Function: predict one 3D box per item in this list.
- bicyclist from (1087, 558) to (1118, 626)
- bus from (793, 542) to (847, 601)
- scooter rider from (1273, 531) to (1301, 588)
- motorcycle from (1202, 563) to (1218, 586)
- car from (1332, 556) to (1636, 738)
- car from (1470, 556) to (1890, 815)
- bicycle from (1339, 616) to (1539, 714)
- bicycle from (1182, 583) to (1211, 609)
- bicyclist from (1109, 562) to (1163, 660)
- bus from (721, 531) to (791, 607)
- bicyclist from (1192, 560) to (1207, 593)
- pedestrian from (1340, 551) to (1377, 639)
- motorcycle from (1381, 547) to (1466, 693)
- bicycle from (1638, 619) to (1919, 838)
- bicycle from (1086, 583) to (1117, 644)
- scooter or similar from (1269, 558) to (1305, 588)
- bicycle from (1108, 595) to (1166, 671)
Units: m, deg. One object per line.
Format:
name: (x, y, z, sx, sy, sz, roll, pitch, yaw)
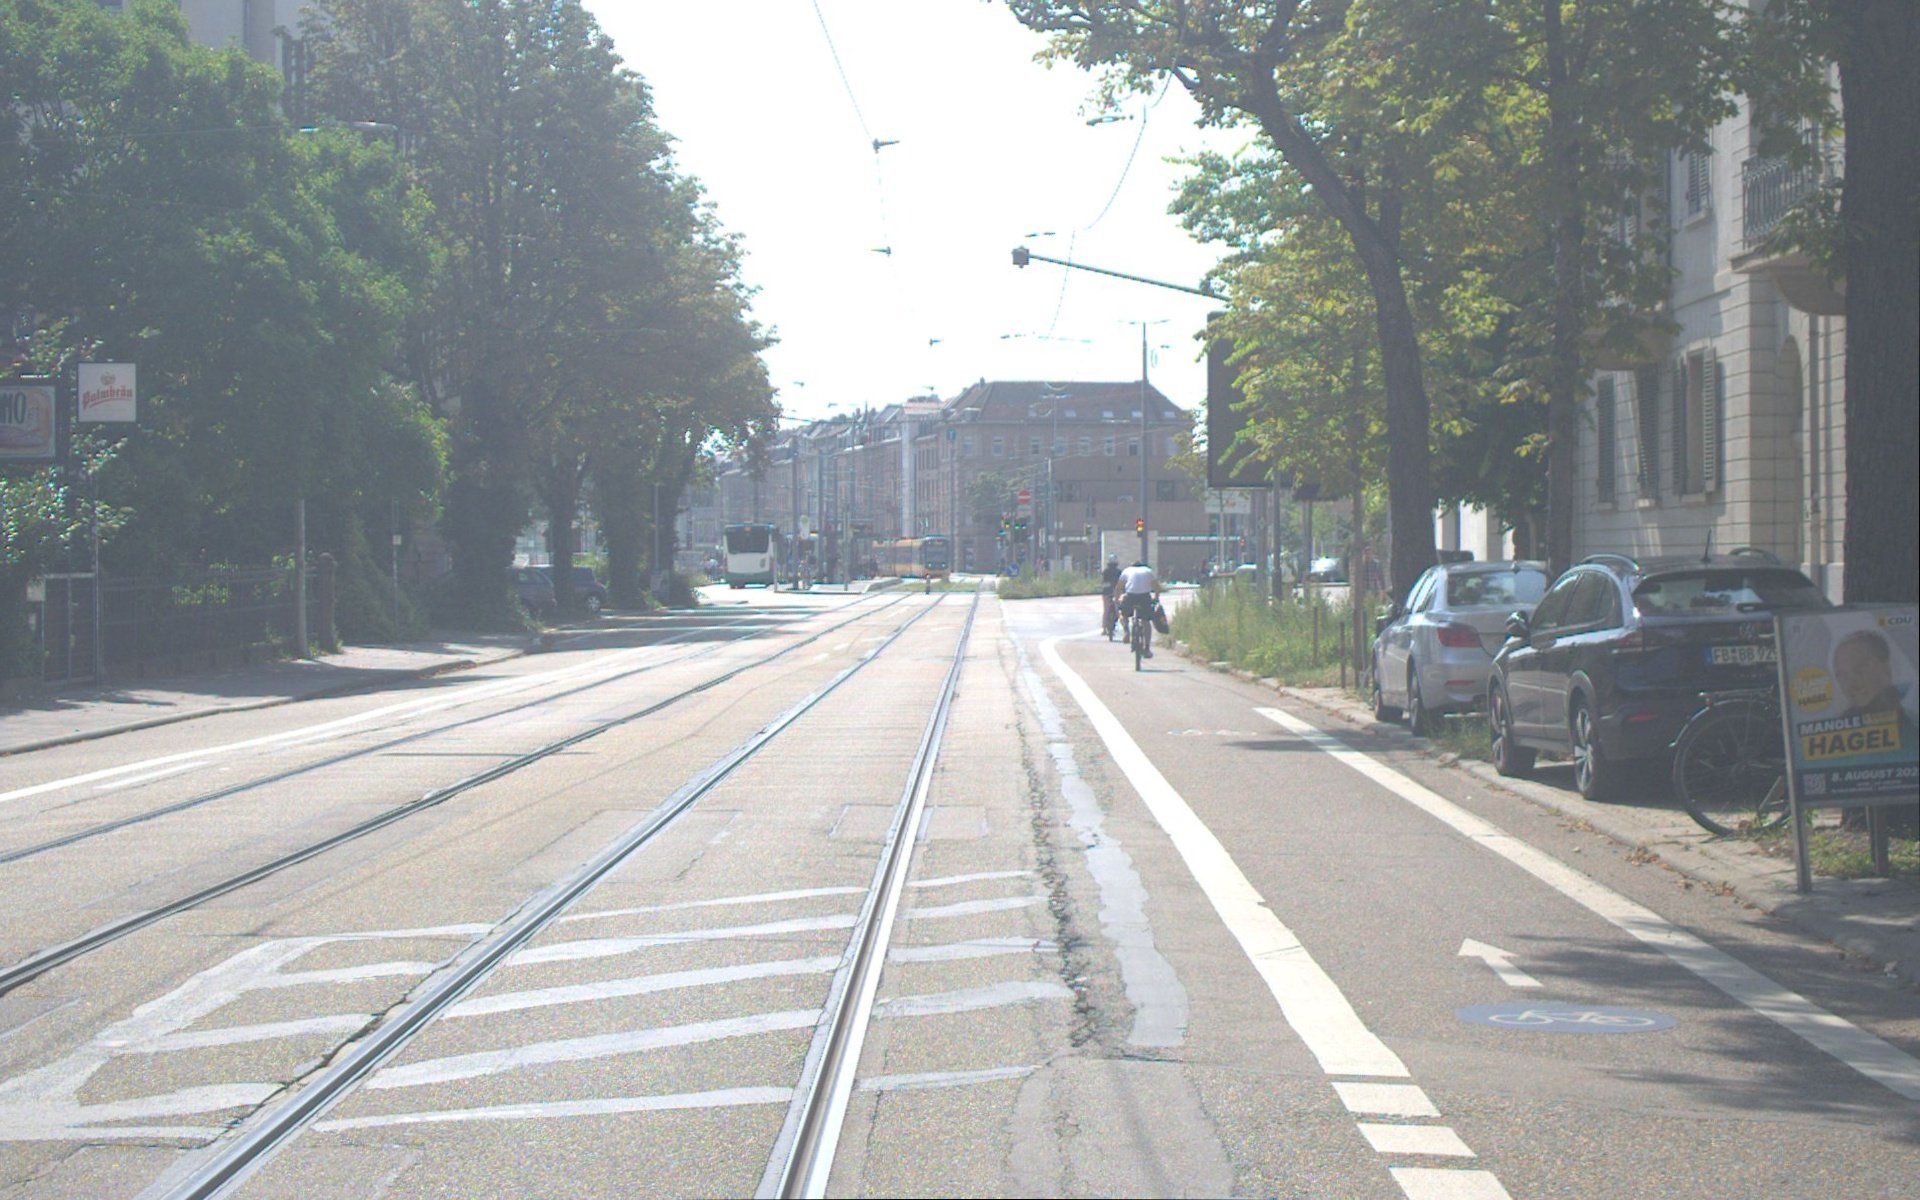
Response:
bicyclist: (2.800, -0.159, 67.783, 0.603, 1.331, 0.660, 0, 0, 2)
bus: (-9.101, -1.852, 223.991, 2.710, 3.714, 10.418, 1, 0, 2)
scooter rider: (10.096, -1.244, 106.060, 0.762, 1.769, 0.554, 0, 0, 17)
motorcycle: (13.694, -1.402, 188.496, 0.604, 1.206, 2.252, 0, 1, 11)
car: (4.491, 0.352, 30.134, 1.782, 1.445, 4.752, -1, 1, -2)
car: (4.561, 0.476, 22.418, 1.663, 1.502, 4.435, -1, 1, -2)
bicycle: (4.746, 0.644, 34.159, 1.923, 0.949, 0.721, 0, 0, 4)
bicycle: (10.155, -0.176, 147.573, 0.445, 1.113, 1.443, 0, 0, 41)
bicyclist: (2.538, 0.152, 49.680, 0.745, 1.407, 0.962, 0, 1, 1)
bus: (-10.534, -1.596, 178.674, 2.958, 3.762, 10.597, 1, 0, 0)
bicyclist: (10.297, -0.996, 147.749, 0.451, 1.416, 0.494, 0, 0, 41)
pedestrian: (7.845, -0.106, 67.696, 0.692, 1.726, 0.579, 0, 1, 3)
motorcycle: (5.106, 0.204, 37.754, 0.886, 1.547, 2.411, -1, 0, 8)
bicycle: (4.513, 0.665, 18.102, 1.755, 1.119, 0.656, 0, 1, 0)
bicycle: (2.794, 0.259, 67.794, 0.604, 1.159, 1.810, 0, 1, 2)
scooter or similar: (10.093, -0.838, 106.067, 0.773, 0.923, 1.619, 1, 1, 18)
bicycle: (2.554, 0.466, 49.823, 0.739, 1.045, 2.233, 0, 1, 1)
